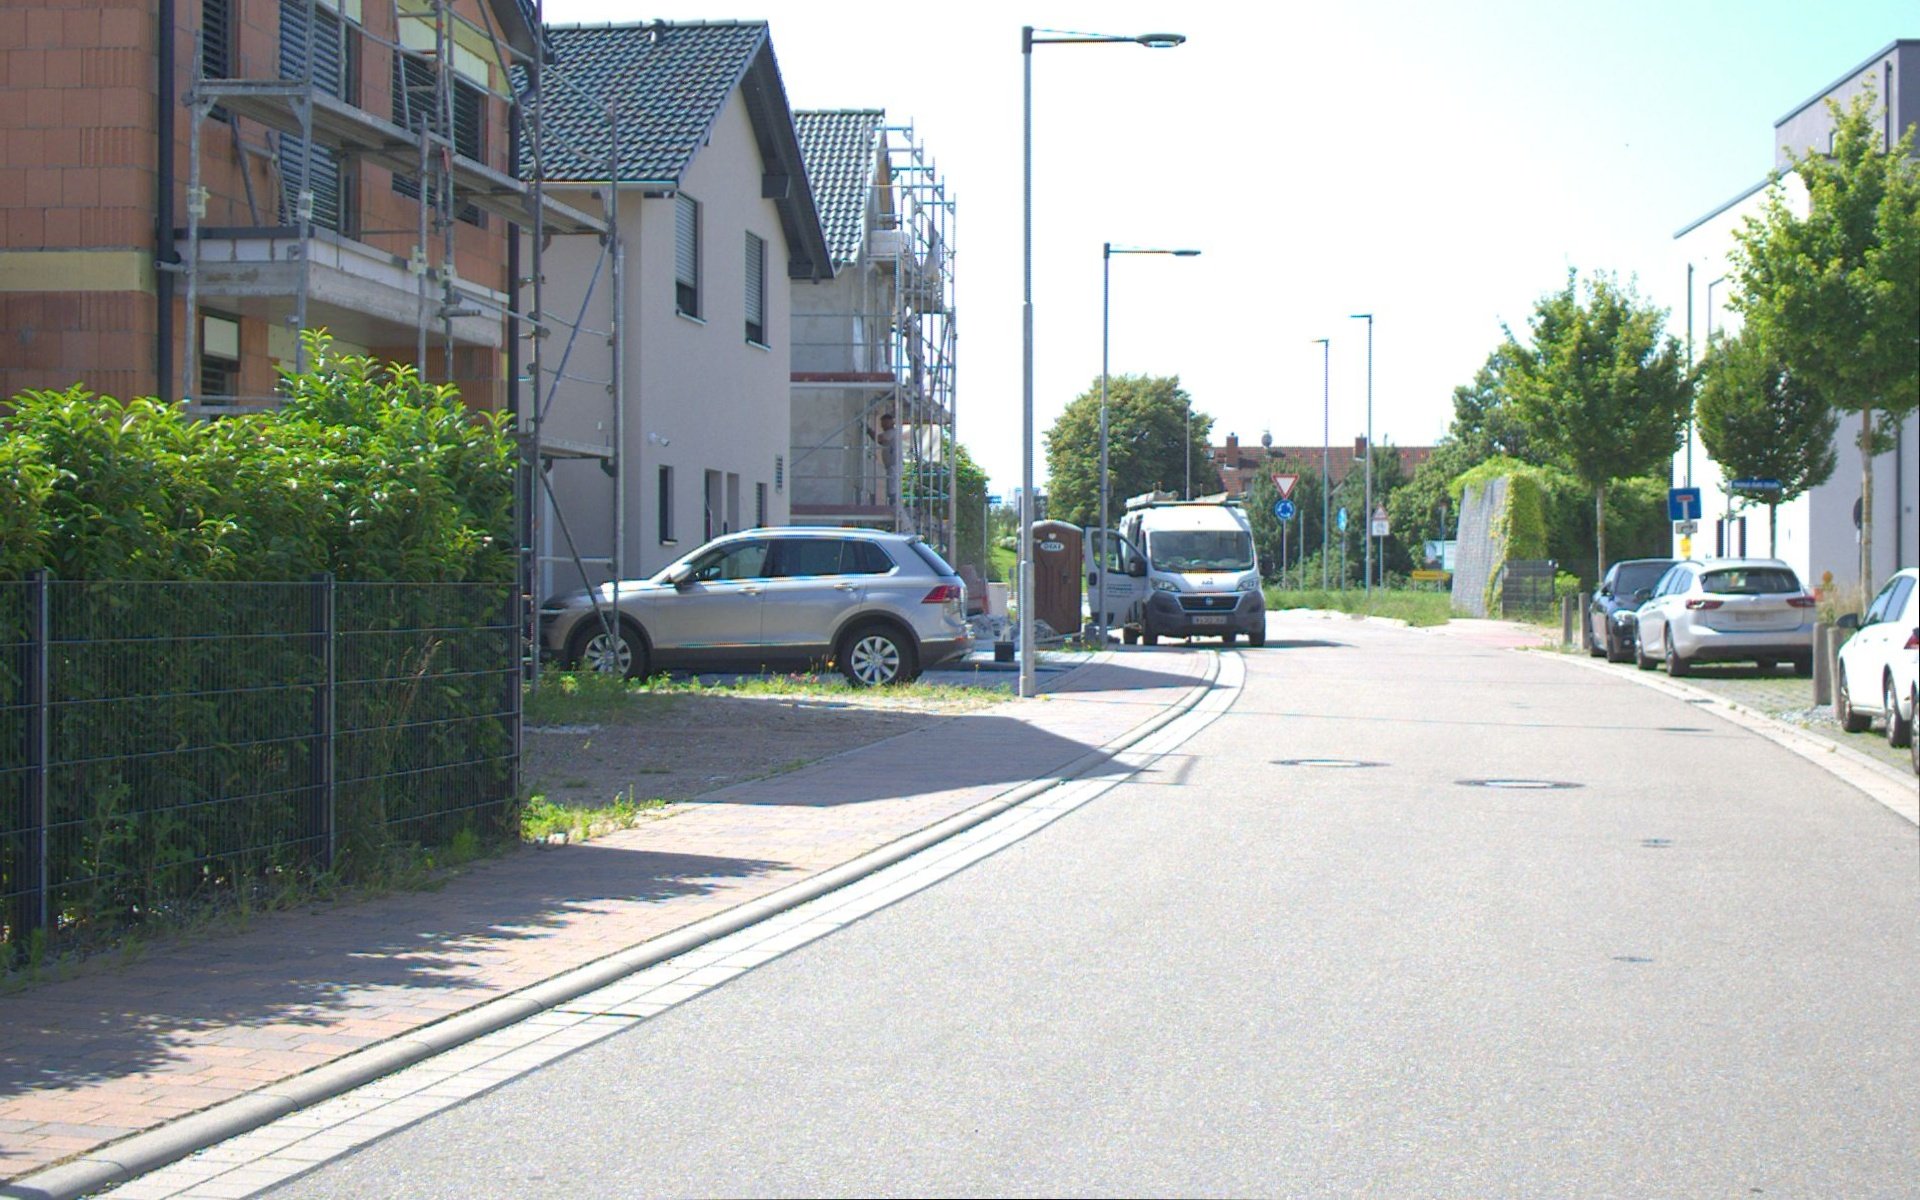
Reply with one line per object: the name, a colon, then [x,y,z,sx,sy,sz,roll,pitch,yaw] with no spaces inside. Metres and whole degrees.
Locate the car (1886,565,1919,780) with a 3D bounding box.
car: [7.287,0.485,22.507,1.815,1.451,4.563,-1,0,8]

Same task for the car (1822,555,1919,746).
car: [8.420,0.356,28.734,1.780,1.421,4.513,-1,1,7]

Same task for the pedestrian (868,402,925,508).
pedestrian: [-1.037,-2.371,56.296,0.746,1.674,0.578,1,-2,-38]

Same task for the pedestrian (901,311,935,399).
pedestrian: [-0.747,-4.341,61.011,0.561,1.494,0.748,0,-2,-3]

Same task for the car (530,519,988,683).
car: [-1.986,0.002,34.992,4.425,1.606,2.000,0,1,4]

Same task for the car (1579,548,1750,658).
car: [10.330,0.006,50.710,1.919,1.464,5.139,-1,1,6]

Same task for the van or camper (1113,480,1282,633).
van or camper: [4.088,-0.731,60.341,2.272,2.544,6.368,0,0,-2]

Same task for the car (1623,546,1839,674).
car: [9.912,0.082,44.582,1.918,1.506,5.294,-1,1,4]
